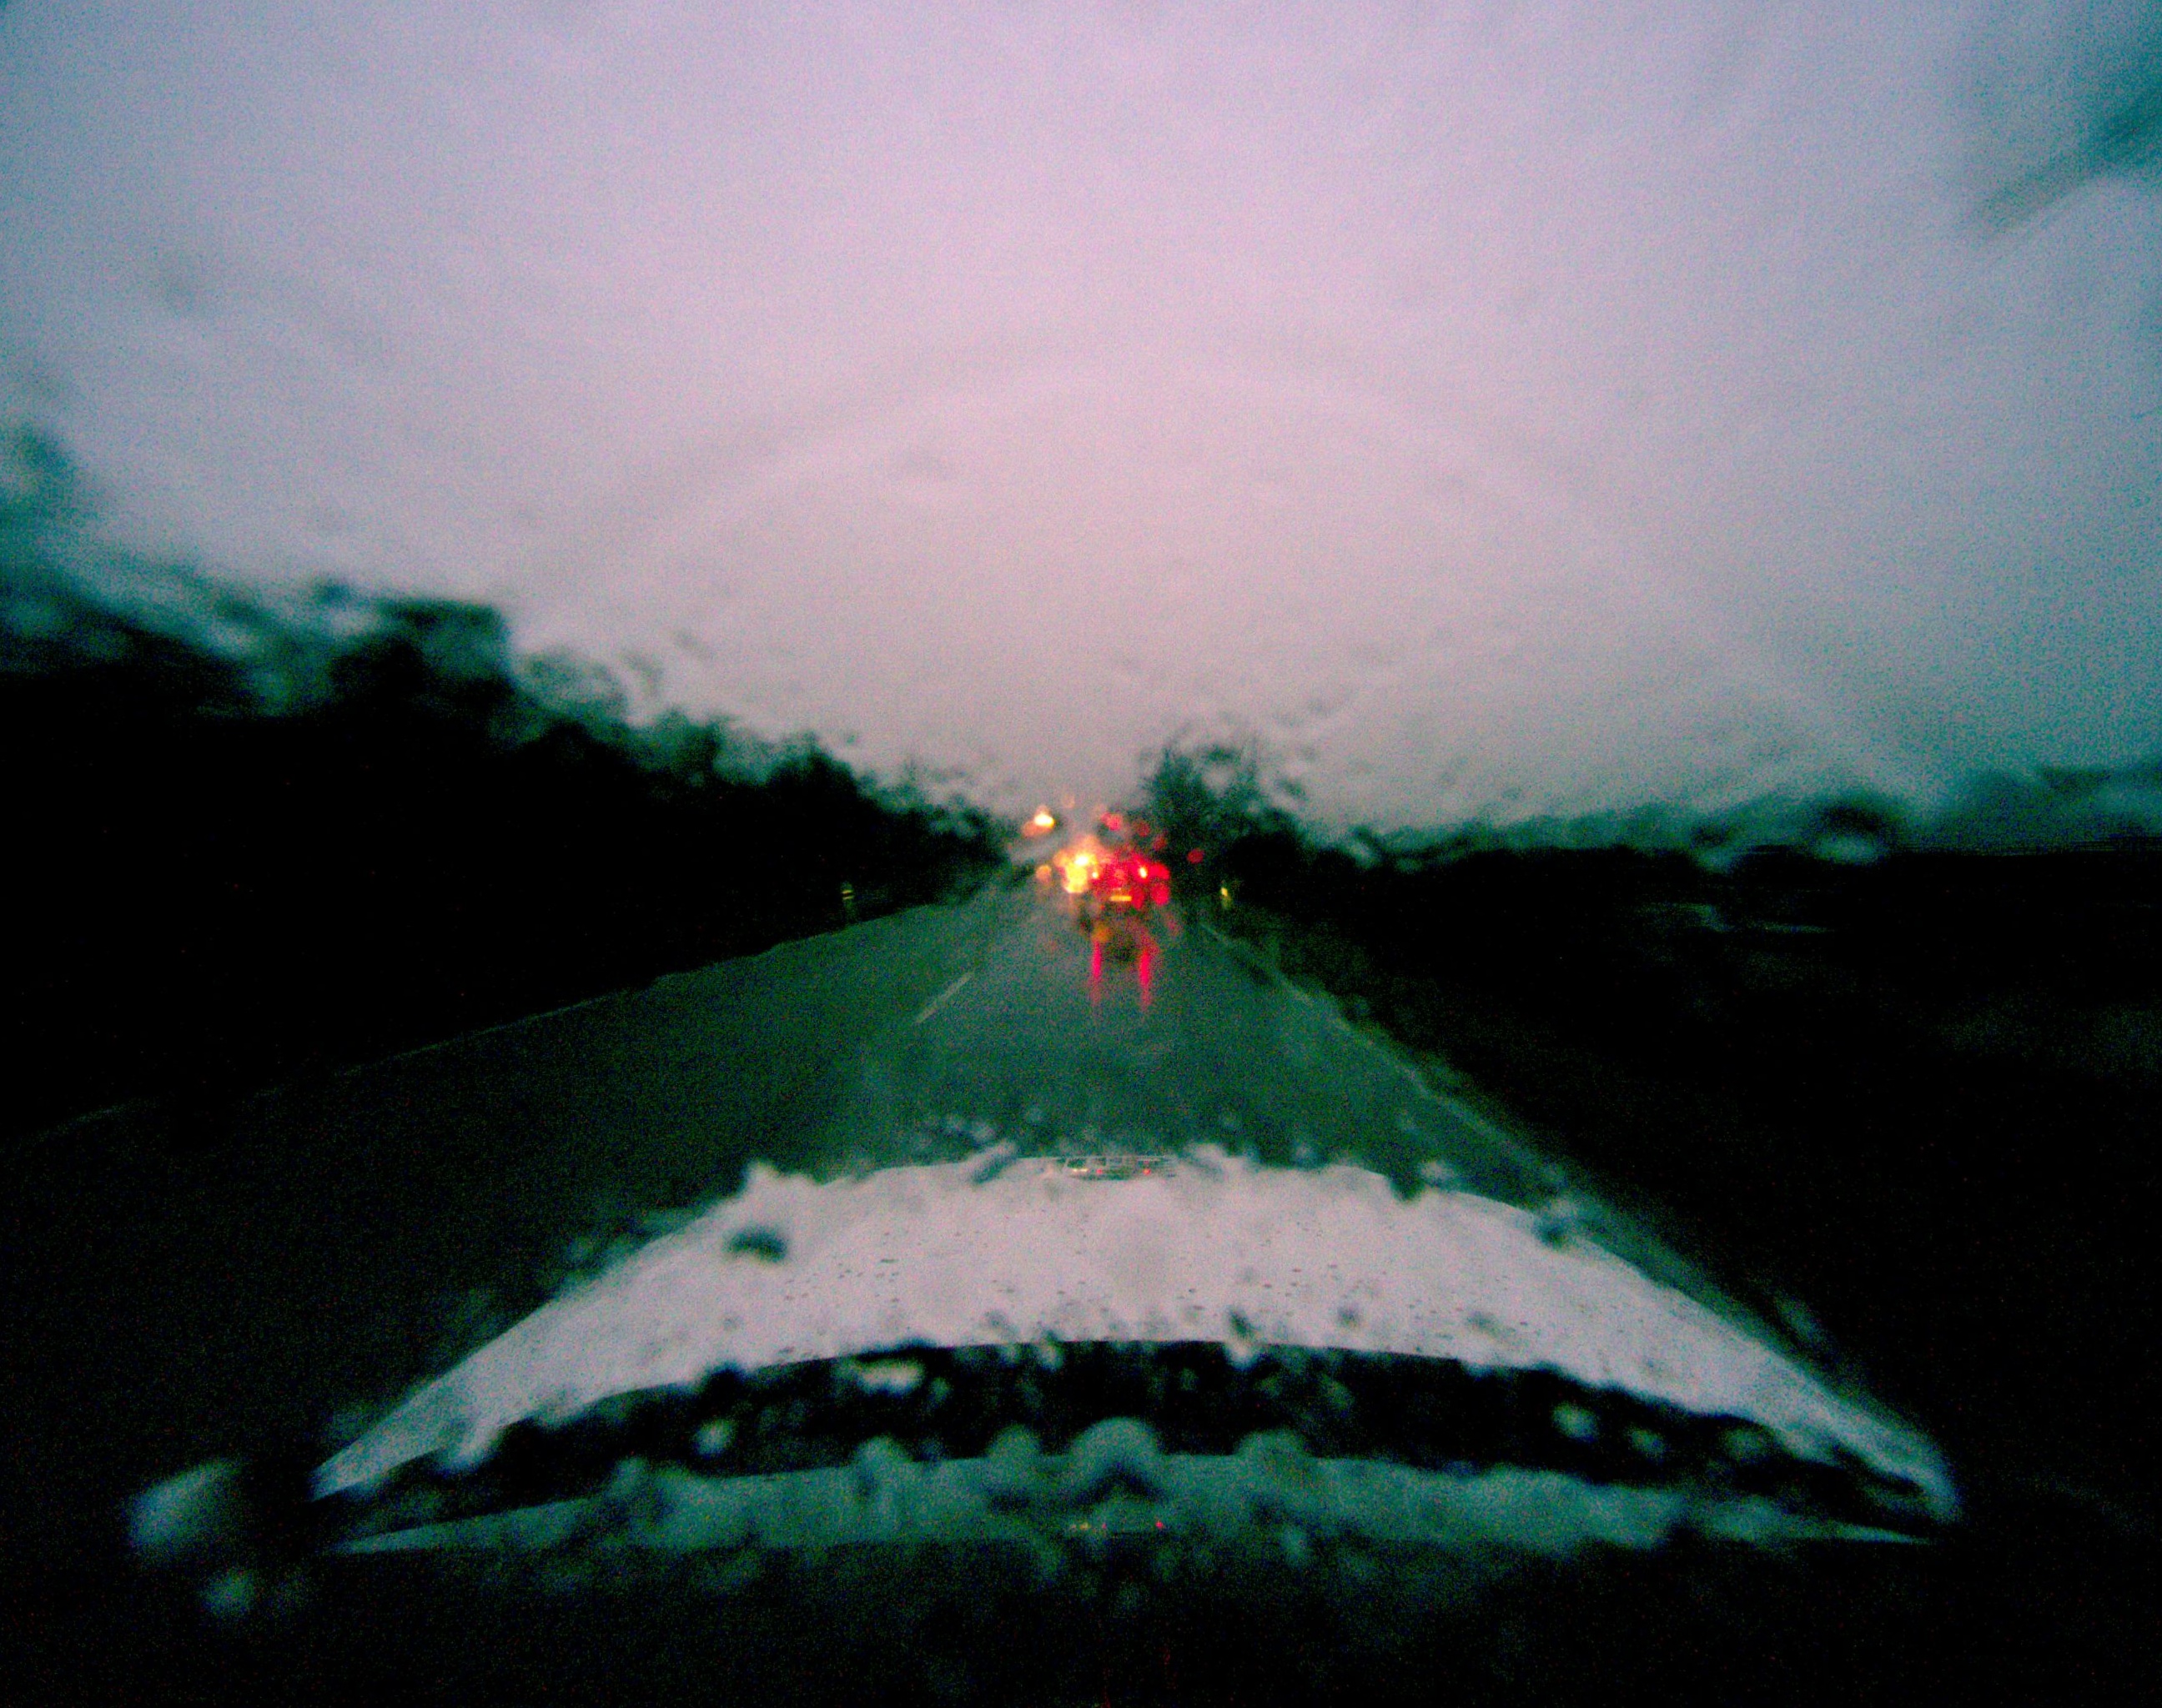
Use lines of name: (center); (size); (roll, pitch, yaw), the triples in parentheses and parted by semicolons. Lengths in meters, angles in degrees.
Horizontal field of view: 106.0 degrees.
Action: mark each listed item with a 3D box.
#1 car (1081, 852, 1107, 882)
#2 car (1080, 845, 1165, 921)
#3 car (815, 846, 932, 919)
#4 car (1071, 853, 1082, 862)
car: (0.885, 0.836, 52.392); (1.568, 1.875, 3.711); (0, 0, 2)
car: (1.045, 0.696, 21.136); (1.986, 1.785, 4.002); (0, 0, 2)
car: (-5.454, 0.699, 21.924); (1.986, 1.785, 4.002); (0, 0, 2)
car: (-0.781, 0.683, 141.911); (1.685, 1.530, 4.086); (0, 0, 1)
